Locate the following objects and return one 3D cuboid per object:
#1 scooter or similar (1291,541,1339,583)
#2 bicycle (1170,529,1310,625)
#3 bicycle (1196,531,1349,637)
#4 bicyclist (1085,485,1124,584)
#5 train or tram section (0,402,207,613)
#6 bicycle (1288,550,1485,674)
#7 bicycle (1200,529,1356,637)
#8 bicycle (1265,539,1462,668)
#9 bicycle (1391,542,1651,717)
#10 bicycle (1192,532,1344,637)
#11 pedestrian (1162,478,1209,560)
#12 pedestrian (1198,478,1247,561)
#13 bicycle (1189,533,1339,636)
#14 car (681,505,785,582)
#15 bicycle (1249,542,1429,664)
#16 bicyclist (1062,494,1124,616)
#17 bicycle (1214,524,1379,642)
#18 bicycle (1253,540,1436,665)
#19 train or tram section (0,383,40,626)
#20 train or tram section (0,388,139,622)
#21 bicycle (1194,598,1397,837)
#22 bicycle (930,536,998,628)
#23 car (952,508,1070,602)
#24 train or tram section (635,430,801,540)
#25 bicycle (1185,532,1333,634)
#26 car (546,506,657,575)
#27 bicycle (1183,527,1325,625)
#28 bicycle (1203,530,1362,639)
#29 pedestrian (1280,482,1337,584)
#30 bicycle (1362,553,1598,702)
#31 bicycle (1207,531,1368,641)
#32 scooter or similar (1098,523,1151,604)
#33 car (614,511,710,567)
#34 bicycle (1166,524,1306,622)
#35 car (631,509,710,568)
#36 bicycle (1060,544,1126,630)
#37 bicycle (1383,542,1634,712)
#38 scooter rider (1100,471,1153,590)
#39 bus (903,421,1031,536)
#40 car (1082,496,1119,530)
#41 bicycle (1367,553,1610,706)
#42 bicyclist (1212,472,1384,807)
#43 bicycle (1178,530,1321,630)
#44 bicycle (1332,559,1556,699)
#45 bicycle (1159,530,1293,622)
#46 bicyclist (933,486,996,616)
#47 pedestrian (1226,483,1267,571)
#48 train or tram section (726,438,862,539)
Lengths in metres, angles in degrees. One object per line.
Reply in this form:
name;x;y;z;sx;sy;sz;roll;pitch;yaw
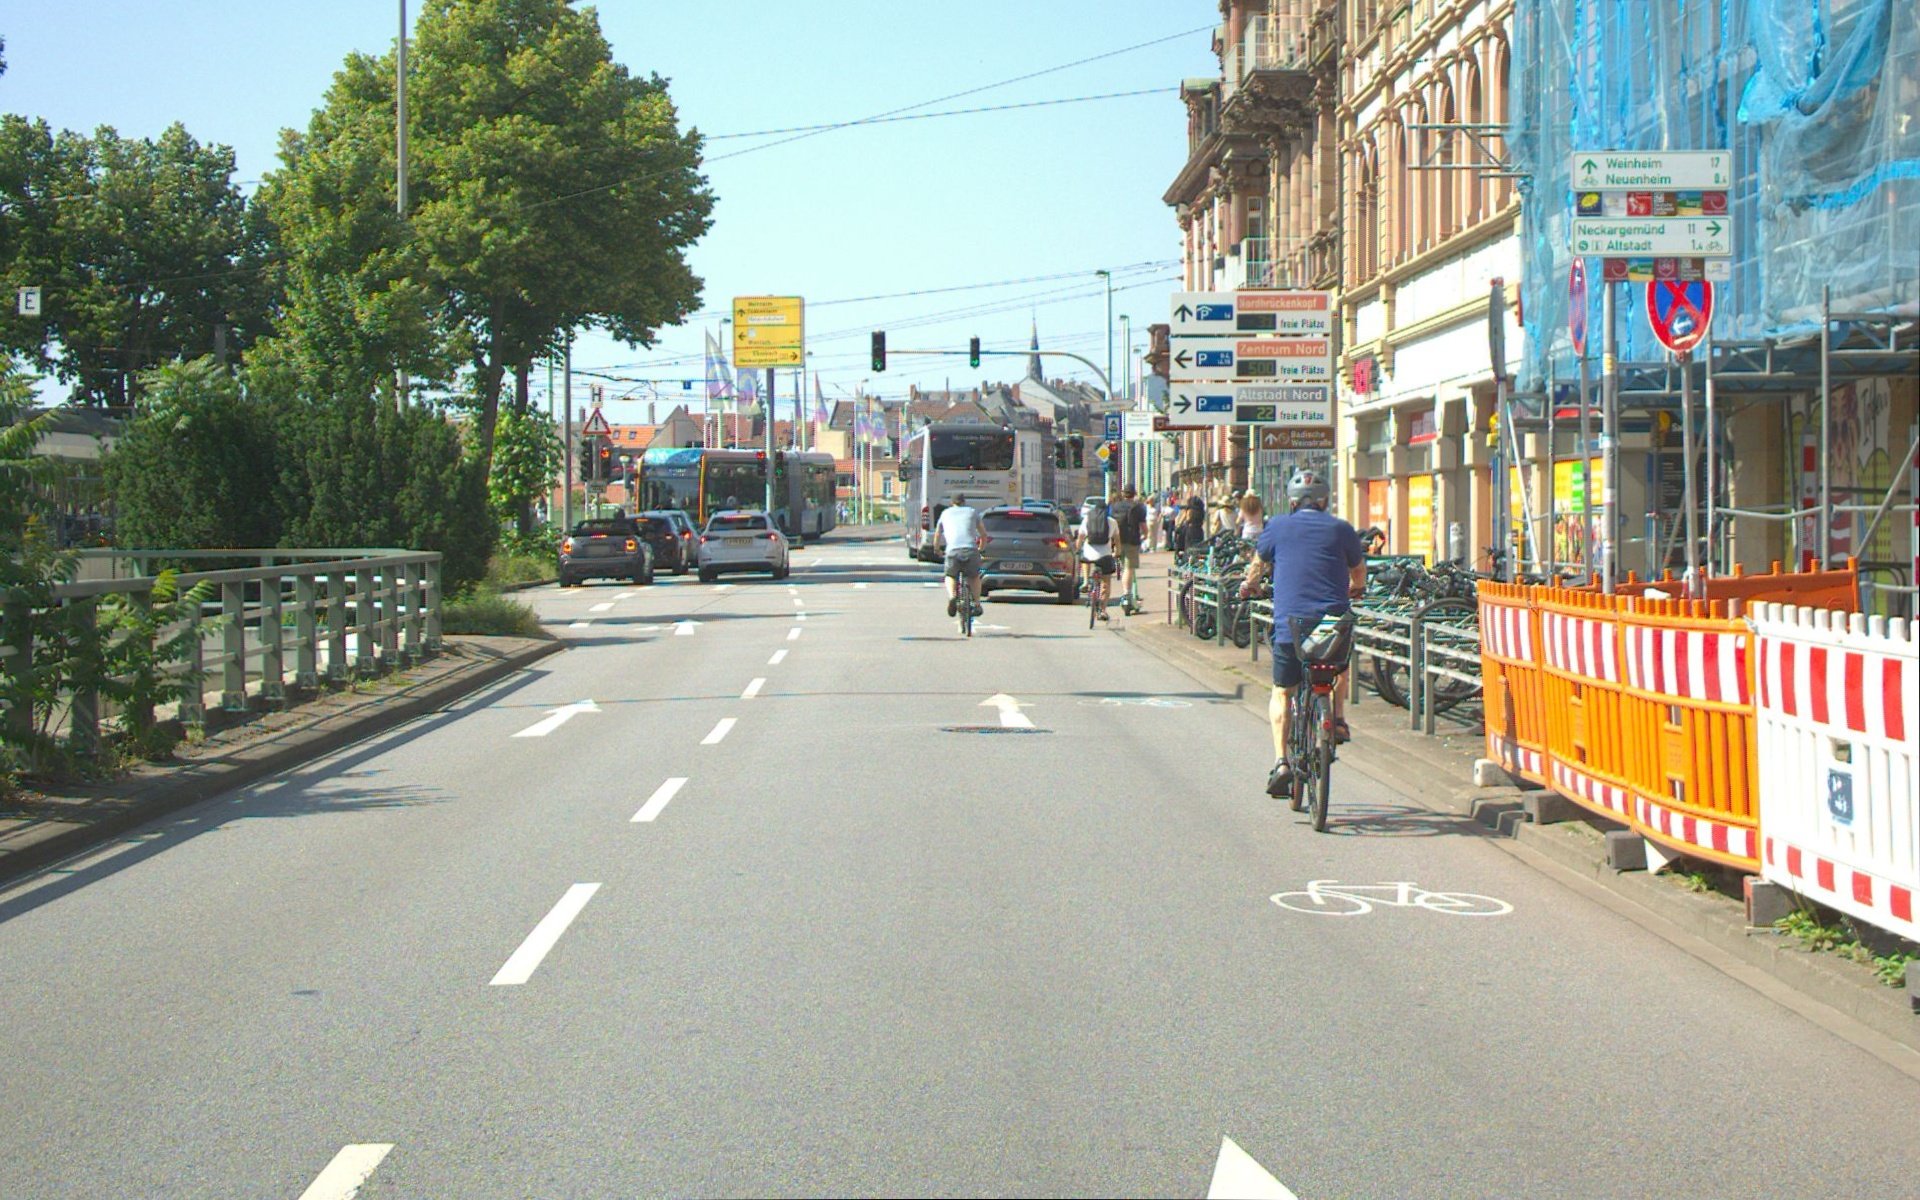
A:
scooter or similar;5.868;-0.628;56.834;0.691;0.648;0.565;-4;1;-1
bicycle;3.515;-0.296;43.251;1.693;1.174;0.608;-1;2;0
bicycle;3.575;-0.183;39.377;1.693;1.174;0.463;1;1;0
bicyclist;2.890;-1.317;68.907;0.688;1.955;0.778;2;1;0
train or tram section;-15.667;-1.655;62.510;2.613;3.569;6.018;2;1;-1
bicycle;3.865;0.103;31.240;1.693;1.083;0.608;1;1;0
bicycle;3.584;-0.193;38.846;1.693;1.174;0.451;1;1;0
bicycle;3.823;0.027;32.613;1.771;1.174;0.608;1;1;0
bicycle;3.919;0.198;24.089;1.693;1.174;0.608;1;1;0
bicycle;3.571;-0.185;39.882;1.693;1.174;0.457;1;1;0
pedestrian;4.552;-1.638;69.465;0.862;1.634;0.876;0;1;-2
pedestrian;5.166;-1.588;67.781;0.862;1.634;0.876;0;1;-2
bicycle;3.574;-0.188;40.439;1.693;1.174;0.514;1;1;0
car;-4.731;-1.180;72.030;1.858;1.502;4.000;2;1;0
bicycle;3.762;0.023;34.192;1.693;1.174;0.608;1;1;0
bicyclist;1.762;-0.598;45.615;0.688;1.571;1.049;2;1;-2
bicycle;3.616;-0.187;37.066;1.693;1.236;0.608;1;1;0
bicycle;3.740;0.021;33.513;1.693;1.174;0.608;1;1;0
train or tram section;-15.420;-1.437;50.048;2.613;3.569;5.357;2;1;-1
train or tram section;-15.535;-1.543;56.141;2.613;3.569;6.899;2;1;-1
bicycle;1.666;0.562;17.379;0.734;1.089;1.911;2;1;-2
bicycle;0.035;-0.233;42.593;0.734;1.089;1.898;2;1;-2
car;0.818;-0.751;56.484;1.873;1.487;4.000;0;1;0
train or tram section;-8.506;-4.019;122.264;2.824;3.569;10.026;2;1;14
bicycle;3.564;-0.210;41.015;1.693;1.174;0.459;1;1;0
car;-7.361;-1.227;70.894;1.815;1.327;4.000;2;1;0
bicycle;3.643;-0.302;42.654;1.693;1.174;0.470;1;1;0
bicycle;3.587;-0.177;38.289;1.693;1.174;0.491;1;1;0
pedestrian;5.819;-1.117;57.422;0.755;1.650;0.837;-3;0;-1
bicycle;3.977;0.207;26.381;1.693;1.093;0.608;1;1;0
bicycle;3.591;-0.157;37.728;1.693;1.174;0.497;1;1;0
scooter or similar;2.434;-0.544;51.060;0.688;1.163;1.464;2;1;0
car;-7.555;-1.554;87.464;2.037;1.327;4.000;2;1;0
bicycle;3.518;-0.343;43.904;1.693;1.174;0.608;-2;2;0
car;-6.728;-1.442;80.285;1.451;1.296;4.000;2;1;0
bicycle;1.753;-0.188;45.588;0.734;1.089;1.898;2;1;-1
bicycle;3.957;0.187;24.860;1.693;1.174;0.608;1;1;0
scooter rider;2.468;-1.032;51.090;0.688;1.723;0.778;2;1;0
bus;0.112;-3.101;90.109;2.969;2.767;8.642;2;1;-2
car;7.878;-4.866;192.598;1.993;1.871;4.000;-1;1;1
bicycle;3.932;0.211;25.644;1.693;1.094;0.608;1;1;0
bicyclist;1.681;0.185;17.235;0.688;1.610;0.918;2;1;-2
bicycle;3.540;-0.247;42.117;1.693;1.174;0.470;1;1;0
bicycle;3.995;0.237;28.451;1.739;1.105;0.608;1;1;0
bicycle;3.441;-0.316;44.543;1.693;1.174;0.608;0;2;0
bicyclist;0.046;-0.605;42.602;0.688;1.571;1.049;2;1;-2
pedestrian;5.318;-1.366;63.869;0.654;1.615;0.815;-1;2;-2
train or tram section;-6.257;-4.185;131.089;2.824;3.569;8.221;2;1;14
